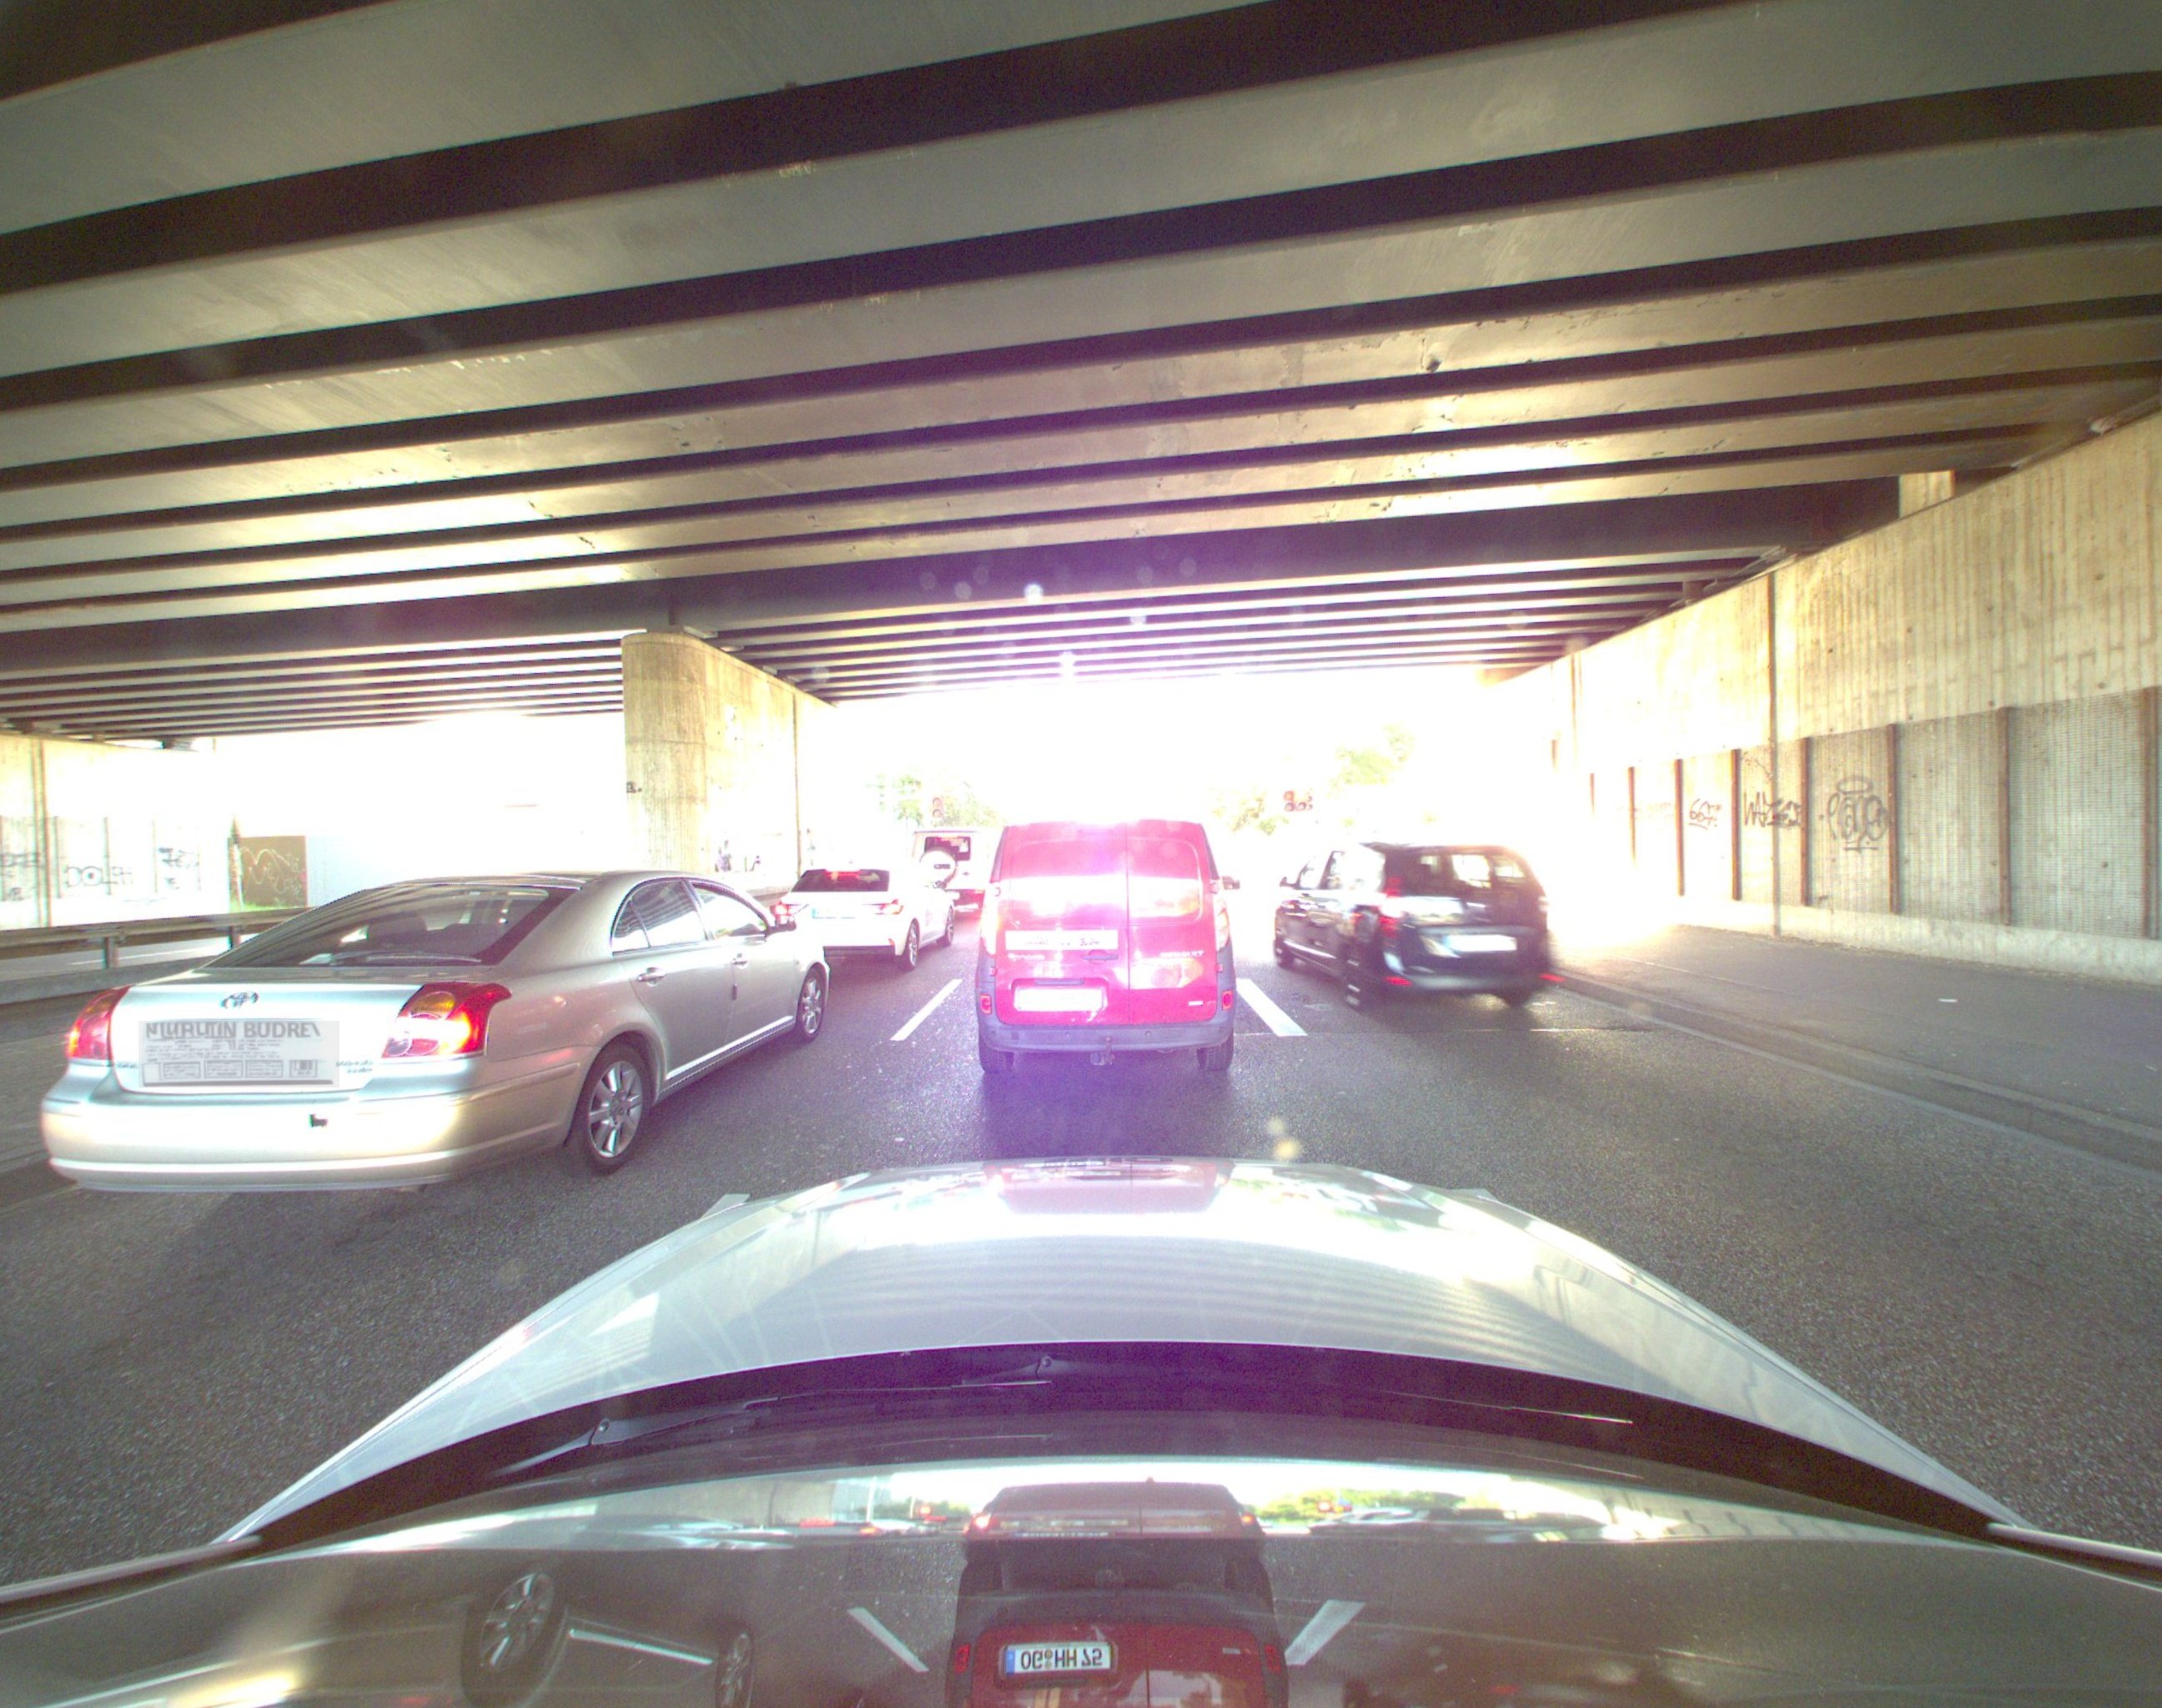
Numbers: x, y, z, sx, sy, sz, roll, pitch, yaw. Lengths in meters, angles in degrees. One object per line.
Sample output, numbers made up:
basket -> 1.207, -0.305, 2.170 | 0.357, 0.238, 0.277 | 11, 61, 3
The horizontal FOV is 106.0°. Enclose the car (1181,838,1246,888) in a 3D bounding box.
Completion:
car -> 4.456, 0.279, 27.935 | 1.872, 1.543, 4.199 | -1, 0, 5

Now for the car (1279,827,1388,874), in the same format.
car -> 10.935, -0.163, 35.143 | 4.668, 1.885, 1.868 | -1, 0, -32

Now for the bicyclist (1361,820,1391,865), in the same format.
bicyclist -> 9.816, -0.359, 27.106 | 0.755, 1.474, 0.659 | 0, -1, -45

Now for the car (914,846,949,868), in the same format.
car -> -13.196, 0.252, 72.111 | 1.817, 1.737, 4.634 | -4, 0, 4

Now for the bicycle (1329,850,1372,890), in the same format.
bicycle -> 7.160, 0.424, 21.712 | 0.589, 1.023, 1.751 | 0, -1, 2

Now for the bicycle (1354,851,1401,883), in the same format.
bicycle -> 9.927, 0.432, 27.199 | 0.665, 1.023, 2.067 | -1, -1, 45

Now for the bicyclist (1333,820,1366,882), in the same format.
bicyclist -> 7.141, -0.064, 21.714 | 0.589, 1.613, 0.943 | 0, -1, 2

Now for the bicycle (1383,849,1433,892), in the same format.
bicycle -> 8.246, 0.407, 20.605 | 0.589, 1.023, 1.751 | 0, -1, 2

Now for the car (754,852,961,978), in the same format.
car -> -2.946, 0.720, 11.589 | 1.807, 1.438, 3.732 | -1, 1, 1

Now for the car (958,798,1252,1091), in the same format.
car -> 0.209, 0.575, 7.028 | 1.798, 1.794, 4.001 | 0, -1, 2

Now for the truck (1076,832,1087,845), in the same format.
truck -> 0.116, -3.921, 205.130 | 2.399, 3.026, 6.661 | -4, 0, 3

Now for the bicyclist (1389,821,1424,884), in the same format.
bicyclist -> 8.230, -0.034, 20.605 | 0.589, 1.548, 0.769 | 0, -1, 1

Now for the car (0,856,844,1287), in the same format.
car -> -3.002, 0.777, 5.055 | 1.727, 1.480, 4.319 | -1, 0, 0

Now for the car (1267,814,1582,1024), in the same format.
car -> 3.310, 0.539, 8.766 | 1.713, 1.706, 3.981 | -1, 0, 0

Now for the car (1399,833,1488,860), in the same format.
car -> 21.392, -0.410, 48.187 | 4.521, 1.514, 1.832 | 0, -1, 8

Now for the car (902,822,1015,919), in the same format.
car -> -2.706, 0.363, 19.071 | 1.794, 1.989, 4.591 | 0, -1, 2
